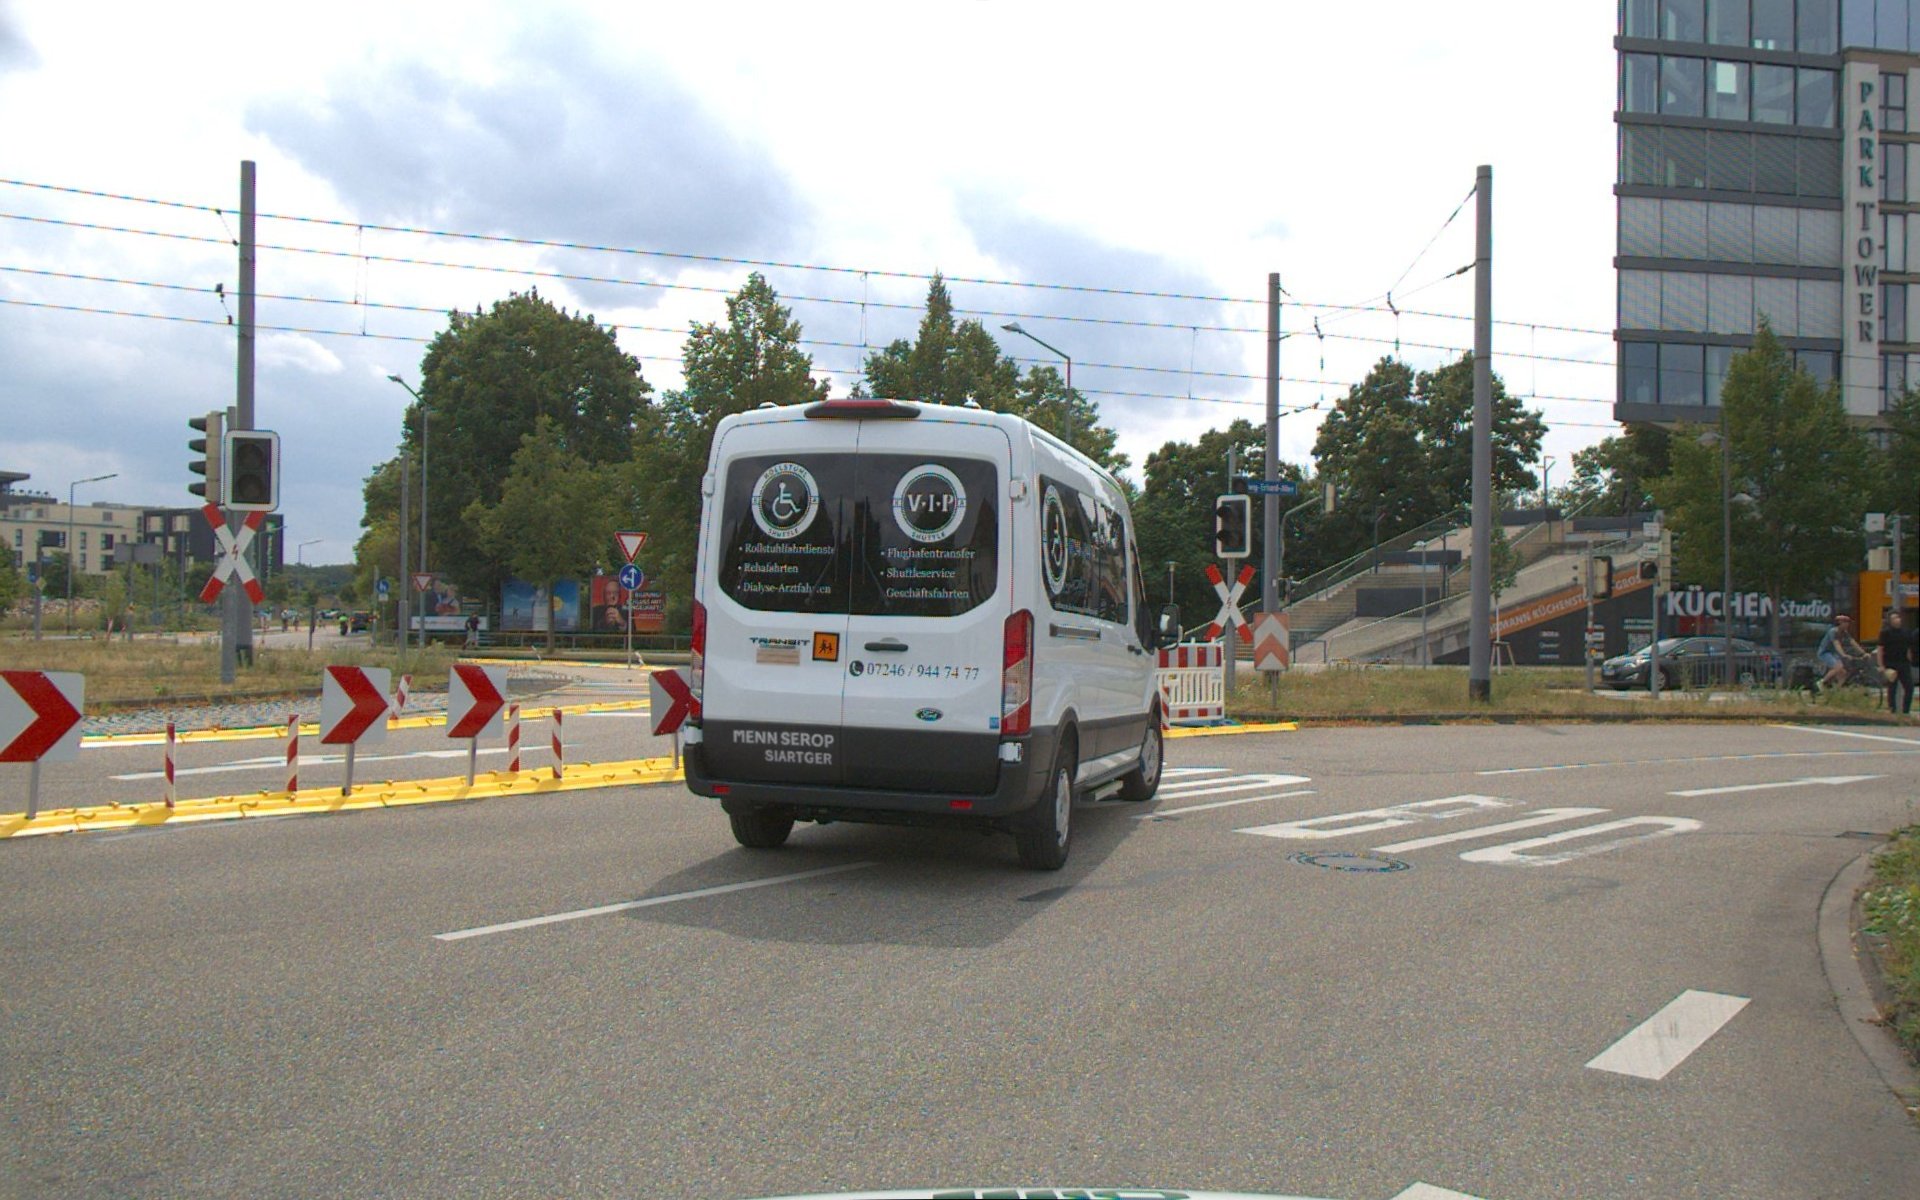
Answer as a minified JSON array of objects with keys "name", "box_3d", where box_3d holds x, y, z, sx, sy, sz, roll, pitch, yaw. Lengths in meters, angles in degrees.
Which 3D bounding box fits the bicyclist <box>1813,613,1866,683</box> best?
[{"name":"bicyclist","box_3d":[17.068,0.921,32.102,0.630,1.340,0.669,1,-1,-28]}]

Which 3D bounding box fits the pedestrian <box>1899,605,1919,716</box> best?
[{"name":"pedestrian","box_3d":[15.970,0.990,27.287,0.621,1.813,0.550,1,-1,-18]}]

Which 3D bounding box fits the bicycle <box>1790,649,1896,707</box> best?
[{"name":"bicycle","box_3d":[17.081,1.496,32.028,0.645,1.024,1.739,1,0,-29]}]

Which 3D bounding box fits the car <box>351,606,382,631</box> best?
[{"name":"car","box_3d":[-47.736,1.532,133.098,1.961,1.881,3.982,1,-2,-16]}]

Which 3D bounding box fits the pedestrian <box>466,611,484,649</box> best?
[{"name":"pedestrian","box_3d":[-20.810,1.298,71.003,0.437,1.622,0.672,0,-1,14]}]

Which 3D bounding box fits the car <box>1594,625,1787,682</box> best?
[{"name":"car","box_3d":[20.042,1.452,45.428,4.637,1.483,1.844,1,0,-11]}]

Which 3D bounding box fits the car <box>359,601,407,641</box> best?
[{"name":"car","box_3d":[-30.570,1.142,87.534,1.968,2.049,3.967,2,-2,-25]}]

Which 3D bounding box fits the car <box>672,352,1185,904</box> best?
[{"name":"car","box_3d":[0.175,0.169,11.218,2.081,2.745,5.636,0,-1,14]}]

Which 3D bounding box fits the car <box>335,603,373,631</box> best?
[{"name":"car","box_3d":[-43.202,1.261,118.031,1.959,1.881,3.987,1,-2,-12]}]

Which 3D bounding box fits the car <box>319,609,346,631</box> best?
[{"name":"car","box_3d":[-56.956,1.793,150.197,1.962,1.881,3.981,1,-2,-17]}]

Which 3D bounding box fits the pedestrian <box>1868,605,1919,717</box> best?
[{"name":"pedestrian","box_3d":[15.301,0.987,26.959,0.677,1.813,0.550,1,-1,-18]}]

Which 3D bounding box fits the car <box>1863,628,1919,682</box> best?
[{"name":"car","box_3d":[28.391,1.579,47.626,3.914,1.483,1.844,1,0,-10]}]
